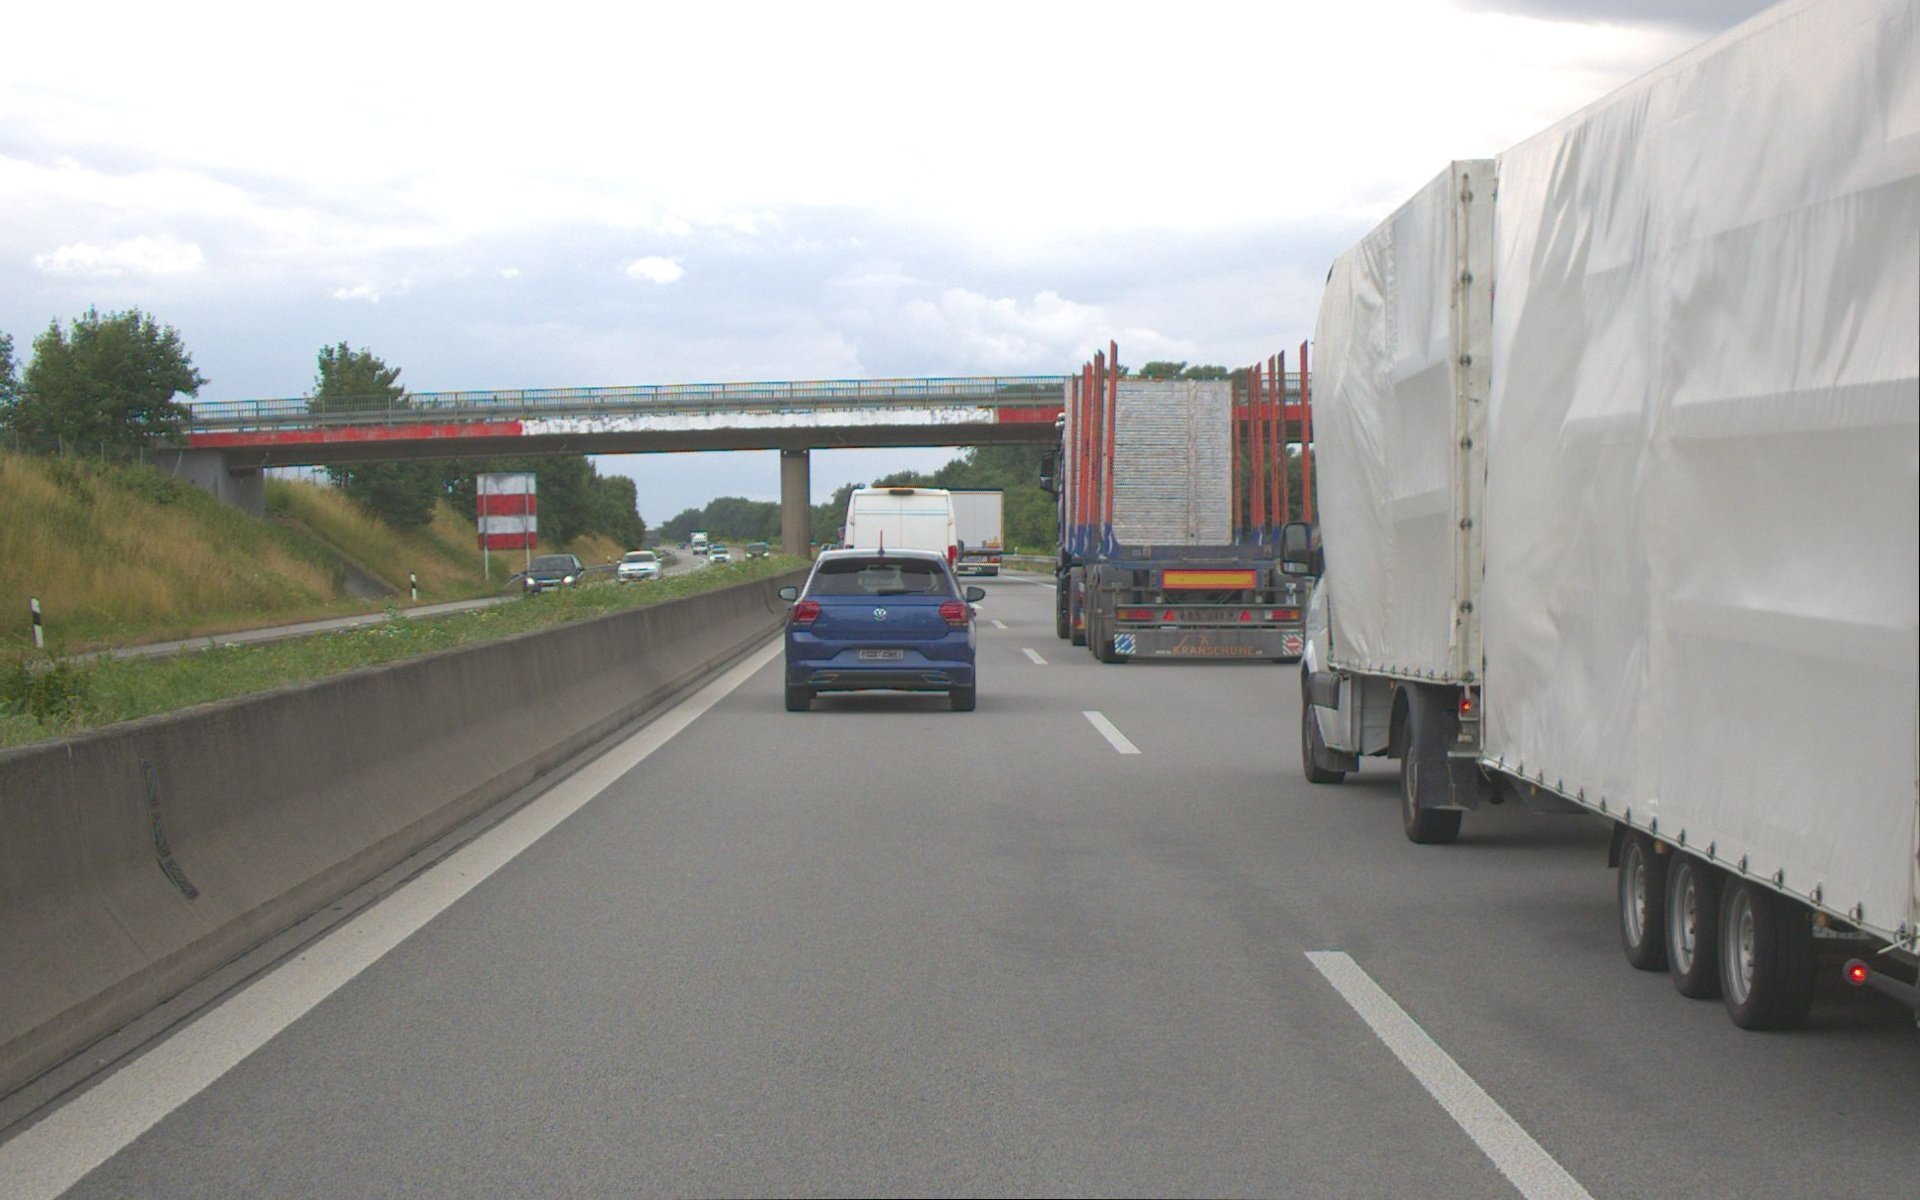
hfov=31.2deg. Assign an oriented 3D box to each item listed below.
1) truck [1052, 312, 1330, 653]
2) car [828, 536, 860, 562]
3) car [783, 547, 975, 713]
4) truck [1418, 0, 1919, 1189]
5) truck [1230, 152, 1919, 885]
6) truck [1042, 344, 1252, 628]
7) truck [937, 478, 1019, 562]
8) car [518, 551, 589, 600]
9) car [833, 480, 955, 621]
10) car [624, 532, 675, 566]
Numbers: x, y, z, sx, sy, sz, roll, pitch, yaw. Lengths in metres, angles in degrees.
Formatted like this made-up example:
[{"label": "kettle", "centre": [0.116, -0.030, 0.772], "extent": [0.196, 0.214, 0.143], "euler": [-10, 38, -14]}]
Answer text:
[{"label": "truck", "centre": [2.911, -1.563, 46.612], "extent": [2.673, 4.031, 11.109], "euler": [-1, 2, -2]}, {"label": "car", "centre": [-7.522, -3.304, 222.336], "extent": [1.993, 1.678, 4.000], "euler": [0, 1, -1]}, {"label": "car", "centre": [-0.740, 0.229, 31.631], "extent": [1.663, 1.402, 3.649], "euler": [0, 1, -1]}, {"label": "truck", "centre": [3.346, -0.286, 11.583], "extent": [2.415, 3.211, 7.144], "euler": [0, 1, -2]}, {"label": "truck", "centre": [3.095, -0.430, 18.823], "extent": [2.429, 3.232, 7.248], "euler": [0, 1, -2]}, {"label": "truck", "centre": [2.753, -1.716, 52.056], "extent": [2.673, 4.031, 5.513], "euler": [-1, 2, -2]}, {"label": "truck", "centre": [0.794, -3.693, 160.572], "extent": [3.110, 3.677, 9.324], "euler": [-3, 1, -3]}, {"label": "car", "centre": [-12.360, -0.764, 104.752], "extent": [1.646, 1.373, 4.235], "euler": [-3, 1, -1]}, {"label": "car", "centre": [-1.199, -0.929, 63.651], "extent": [2.130, 2.474, 5.840], "euler": [-1, 1, -1]}, {"label": "car", "centre": [-14.166, -2.351, 157.068], "extent": [1.895, 1.456, 4.542], "euler": [-3, 1, -1]}]
